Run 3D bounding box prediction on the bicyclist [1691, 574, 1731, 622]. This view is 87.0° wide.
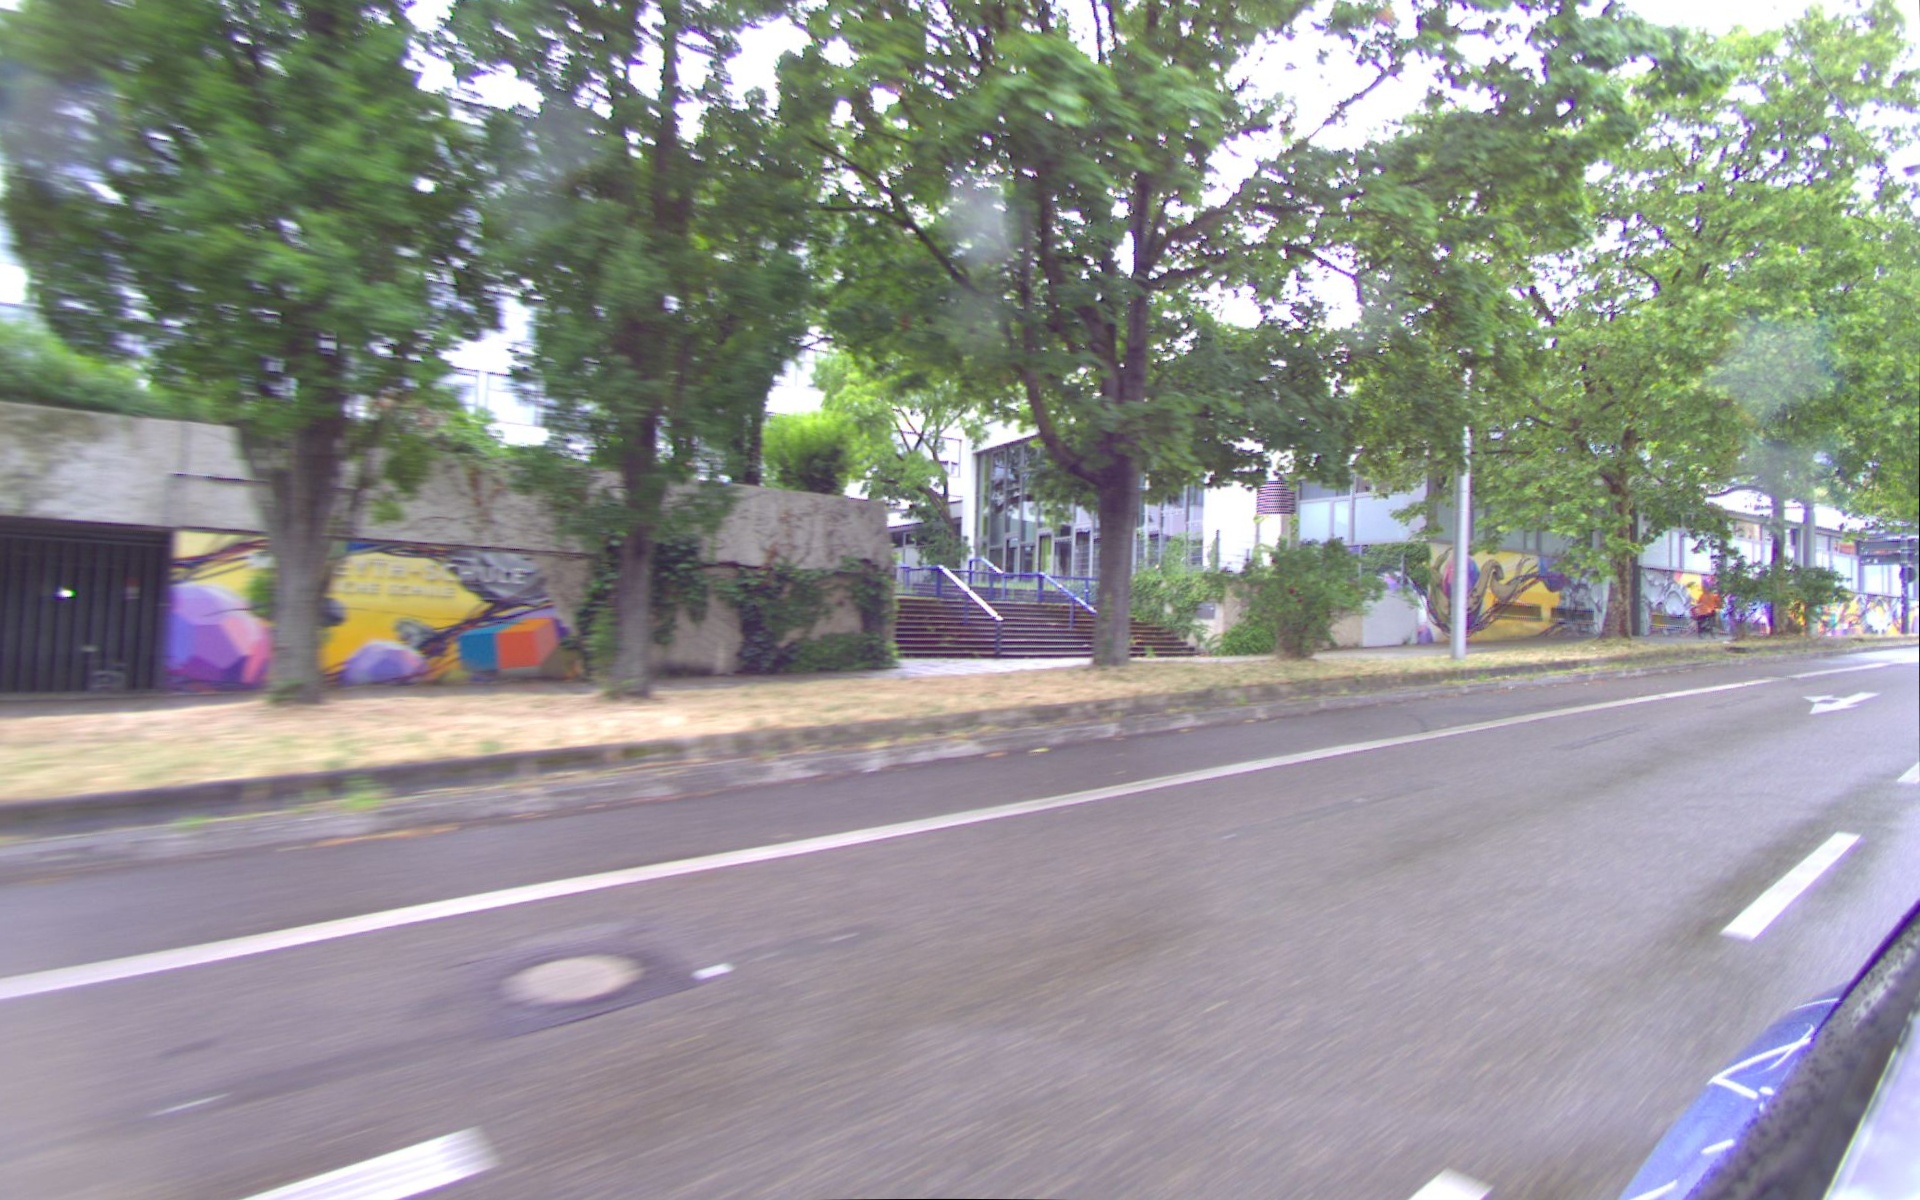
[{"bbox_3d":[26.164,-0.083,35.260,1.026,1.648,0.809,0,0,-33],"label":"bicyclist"}]

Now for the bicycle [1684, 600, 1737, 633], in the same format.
[{"bbox_3d":[26.137,0.556,35.228,2.155,1.126,0.809,0,0,-34],"label":"bicycle"}]

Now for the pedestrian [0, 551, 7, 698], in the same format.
[{"bbox_3d":[-12.684,0.318,12.595,1.035,1.888,0.810,1,0,-31],"label":"pedestrian"}]
